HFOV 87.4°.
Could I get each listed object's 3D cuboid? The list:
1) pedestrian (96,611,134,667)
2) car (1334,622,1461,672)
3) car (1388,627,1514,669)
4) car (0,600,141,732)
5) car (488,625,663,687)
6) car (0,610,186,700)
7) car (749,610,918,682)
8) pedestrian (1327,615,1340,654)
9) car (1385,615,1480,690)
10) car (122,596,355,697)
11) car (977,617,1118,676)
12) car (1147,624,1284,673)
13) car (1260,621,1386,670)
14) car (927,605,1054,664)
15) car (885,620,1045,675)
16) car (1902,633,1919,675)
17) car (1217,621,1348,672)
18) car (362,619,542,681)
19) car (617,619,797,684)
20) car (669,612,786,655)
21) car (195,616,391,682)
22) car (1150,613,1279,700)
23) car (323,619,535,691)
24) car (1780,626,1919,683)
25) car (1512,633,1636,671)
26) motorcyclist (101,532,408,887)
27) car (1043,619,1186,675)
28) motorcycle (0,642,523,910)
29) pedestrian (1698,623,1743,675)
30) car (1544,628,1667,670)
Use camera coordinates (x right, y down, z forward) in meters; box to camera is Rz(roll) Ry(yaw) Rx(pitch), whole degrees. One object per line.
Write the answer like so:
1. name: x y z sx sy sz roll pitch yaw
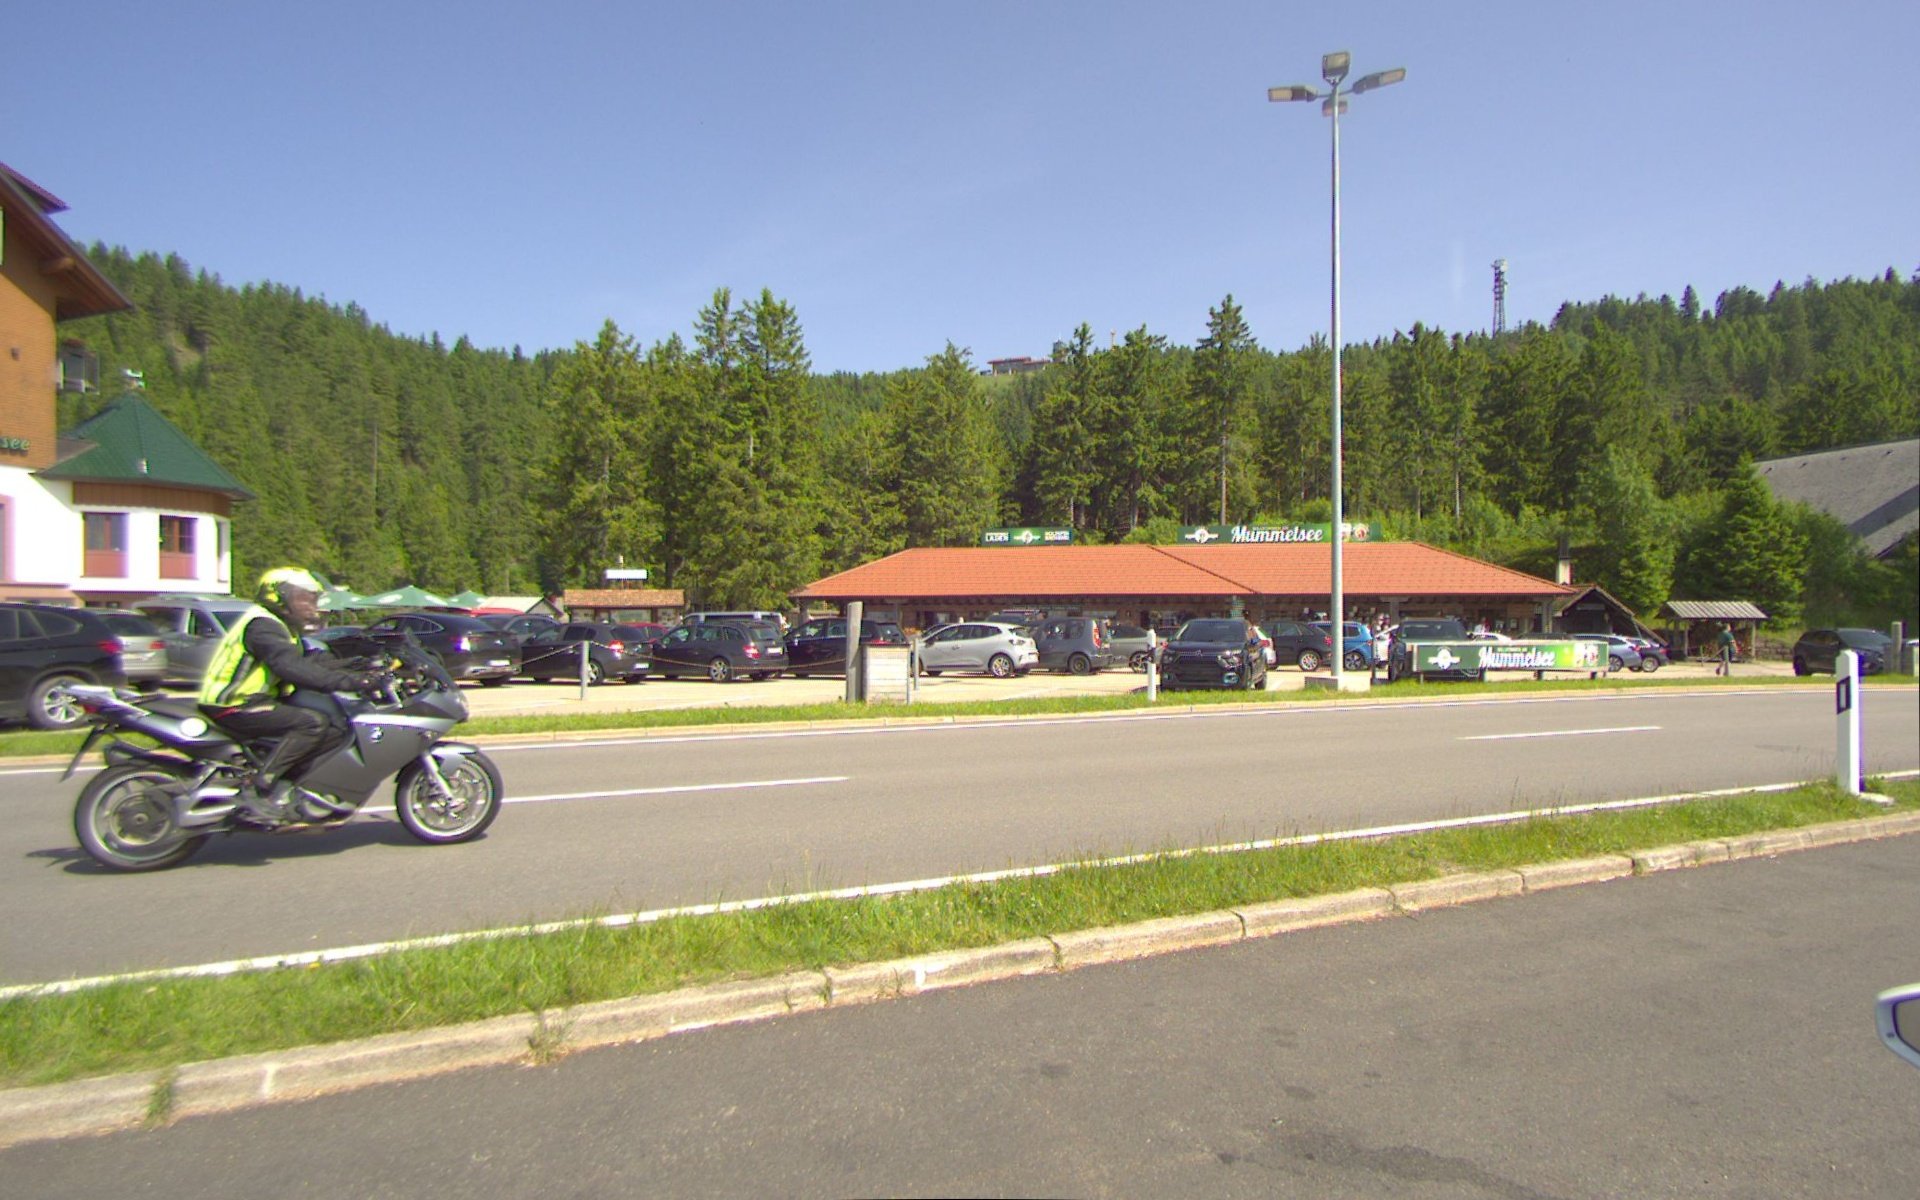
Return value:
1. pedestrian: -25.339 1.165 30.111 0.615 1.654 0.702 -1 -1 28
2. car: 15.422 1.659 35.619 3.951 1.694 1.777 -1 -3 19
3. car: 17.992 1.758 37.014 3.946 1.487 1.777 -1 -3 19
4. car: -12.359 0.785 11.602 1.772 1.560 4.192 -1 -1 20
5. car: -8.872 1.261 23.214 3.567 1.339 1.588 -1 -1 18
6. car: -17.015 1.005 19.044 3.922 1.566 1.999 -1 -1 22
7. car: -3.231 1.144 25.666 3.925 1.726 1.824 -1 -1 26
8. pedestrian: 18.470 1.700 49.689 0.518 1.898 0.547 1 0 18
9. car: 11.050 1.164 23.719 1.706 1.588 4.059 0 -1 21
10. car: -14.733 0.918 20.511 4.443 1.888 1.835 -1 -1 23
11. car: 2.489 1.304 28.563 3.660 1.609 1.735 -1 -1 21
12. car: 7.925 1.481 31.129 3.922 1.439 1.908 -1 -2 21
13. car: 12.383 1.550 34.377 3.922 1.595 2.000 -1 -2 20
14. car: 1.060 1.173 34.134 3.920 1.929 2.001 -1 -2 18
15. car: 0.137 1.252 27.023 3.922 1.389 1.812 -1 -1 20
16. car: 33.884 1.851 33.745 1.709 1.460 3.971 -1 -2 18
17. car: 10.474 1.490 32.638 3.922 1.595 2.000 -1 -2 21
18. car: -13.118 1.275 25.989 3.920 1.502 1.936 -1 -2 18
19. car: -6.196 1.229 24.629 4.000 1.505 1.716 -1 -1 20
20. car: -8.635 1.241 37.378 3.804 1.550 1.911 -1 -1 18
21. car: -16.151 1.164 24.361 3.920 1.502 1.936 -1 -2 18
22. car: 5.214 1.057 20.250 1.750 1.572 3.996 -1 -1 26
23. car: -11.440 1.146 21.690 3.921 1.449 1.914 -1 -1 20
24. car: 28.224 1.679 31.929 1.753 1.655 4.213 1 -1 15
25. car: 24.123 2.035 39.612 3.922 1.438 1.685 -1 -3 21
26. motorcyclist: -3.795 0.533 5.570 1.277 1.697 1.021 0 -1 -29
27. car: 4.655 1.386 30.144 3.922 1.565 1.899 -1 -1 22
28. motorcycle: -3.696 0.857 5.584 2.259 1.192 0.818 1 -1 -30
29. pedestrian: 26.409 1.679 34.907 0.947 1.757 0.894 0 -1 -25
30. car: 26.453 2.009 41.312 3.923 1.639 1.999 -1 -1 22
